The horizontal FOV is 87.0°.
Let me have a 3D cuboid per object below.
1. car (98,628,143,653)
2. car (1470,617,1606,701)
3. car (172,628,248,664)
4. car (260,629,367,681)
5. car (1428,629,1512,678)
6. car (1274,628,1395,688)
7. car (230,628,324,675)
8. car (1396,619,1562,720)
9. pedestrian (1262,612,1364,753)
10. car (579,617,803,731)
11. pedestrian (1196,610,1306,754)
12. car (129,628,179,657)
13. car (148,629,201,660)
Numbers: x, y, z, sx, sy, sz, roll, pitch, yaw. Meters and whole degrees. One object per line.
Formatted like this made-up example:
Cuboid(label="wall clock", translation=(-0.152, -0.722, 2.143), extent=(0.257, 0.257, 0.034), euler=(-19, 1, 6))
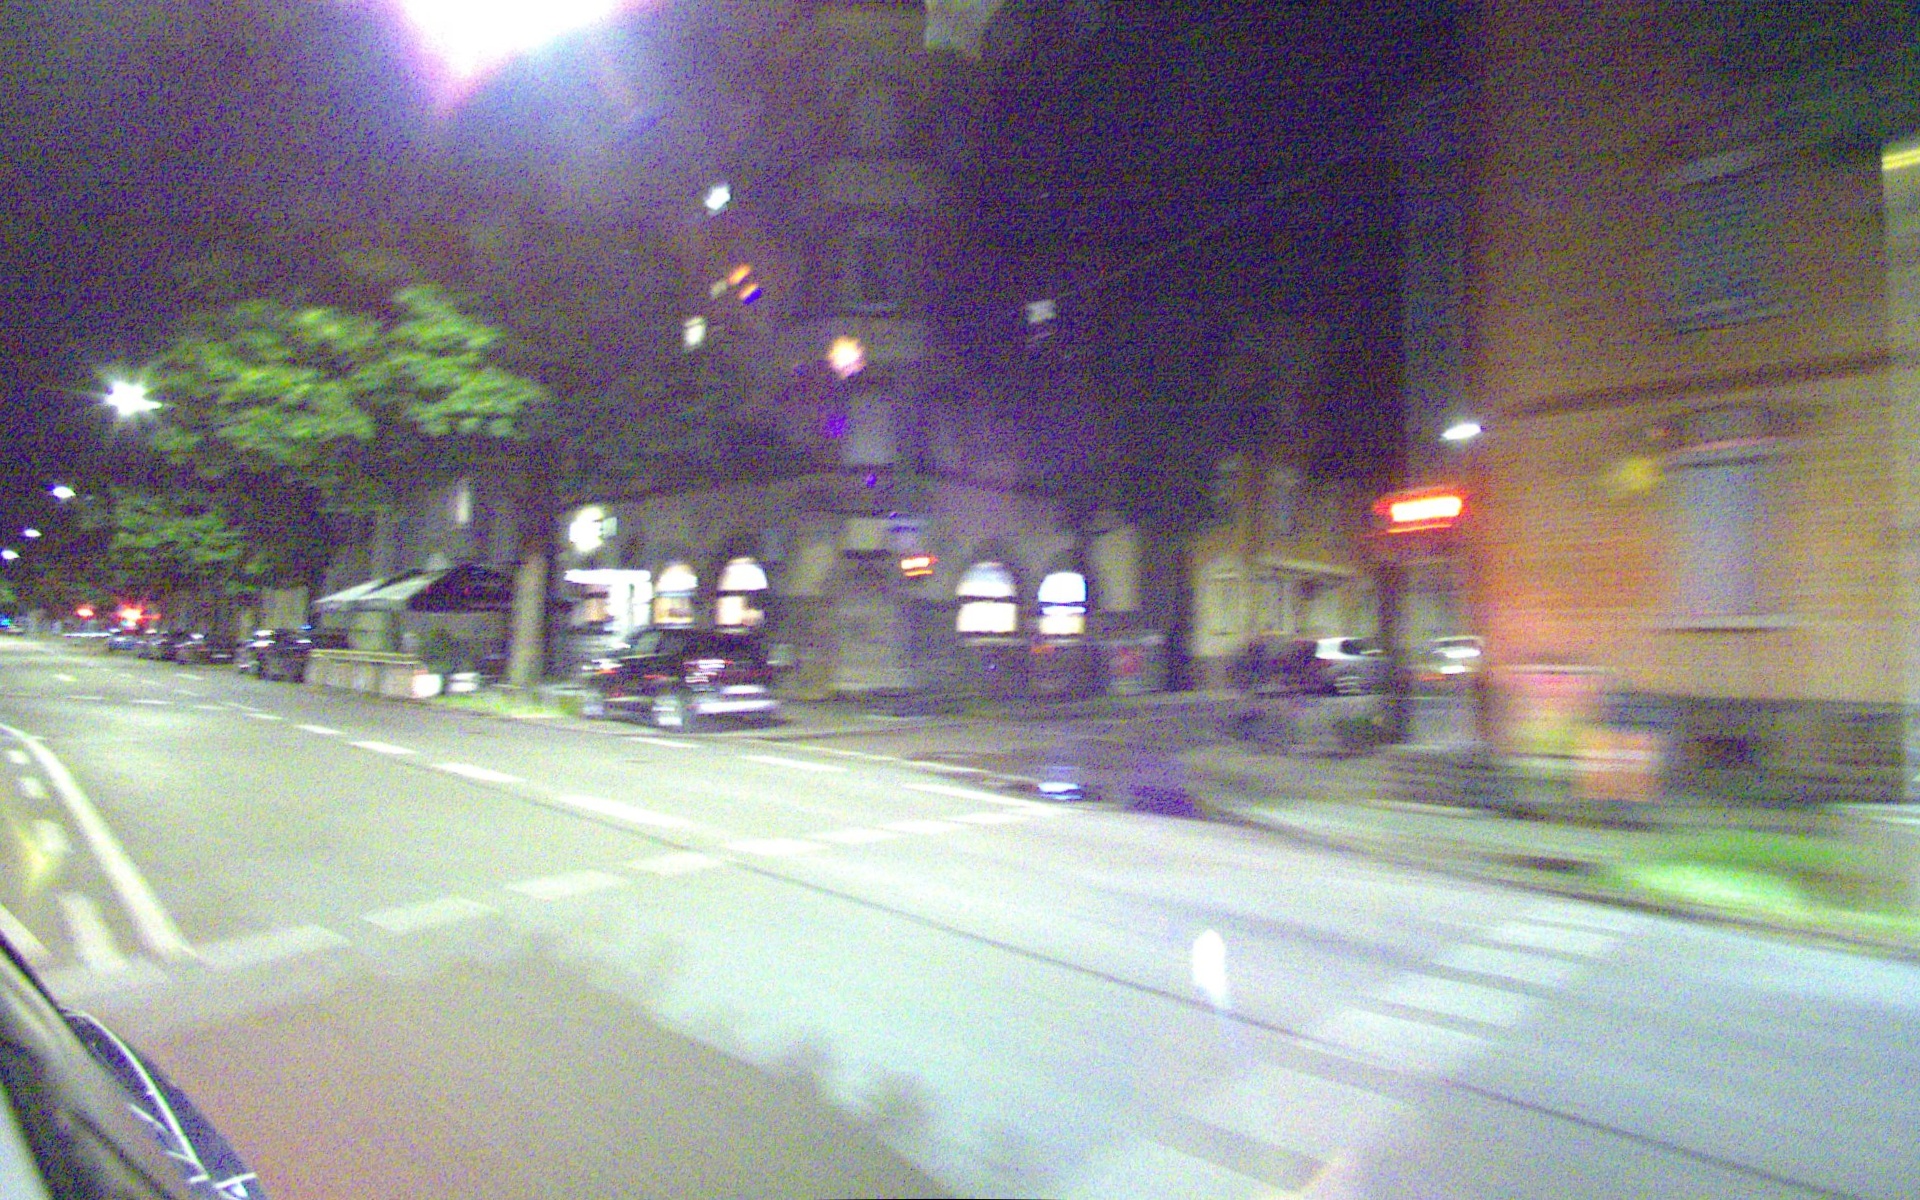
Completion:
Cuboid(label="car", translation=(-53.713, 2.572, 64.727), extent=(3.513, 1.475, 1.611), euler=(-1, -4, 41))
Cuboid(label="car", translation=(13.640, 1.342, 23.786), extent=(1.901, 1.789, 3.942), euler=(-1, -3, 43))
Cuboid(label="car", translation=(-32.517, 1.953, 43.847), extent=(4.403, 1.444, 1.840), euler=(-1, -2, 43))
Cuboid(label="car", translation=(-19.741, 1.609, 30.818), extent=(1.839, 1.444, 4.446), euler=(1, -2, -45))
Cuboid(label="car", translation=(20.099, 2.085, 39.810), extent=(1.901, 1.789, 3.942), euler=(-1, -3, 43))
Cuboid(label="car", translation=(10.873, 1.647, 29.289), extent=(1.901, 1.611, 3.942), euler=(-1, -3, 43))
Cuboid(label="car", translation=(-23.309, 1.692, 34.470), extent=(1.839, 1.490, 4.475), euler=(2, -2, -45))
Cuboid(label="car", translation=(10.342, 1.312, 20.059), extent=(1.901, 1.789, 3.942), euler=(-1, -3, 43))
Cuboid(label="pedestrian", translation=(4.473, 1.019, 12.863), extent=(0.700, 1.703, 1.000), euler=(3, -3, -35))
Cuboid(label="car", translation=(-4.490, 1.099, 16.524), extent=(1.863, 1.608, 4.027), euler=(1, -1, -43))
Cuboid(label="pedestrian", translation=(3.622, 0.995, 12.652), extent=(0.700, 1.703, 1.127), euler=(3, -3, -35))
Cuboid(label="car", translation=(-42.779, 2.227, 53.707), extent=(1.619, 1.444, 4.352), euler=(0, -1, -45))
Cuboid(label="car", translation=(-38.565, 2.144, 49.639), extent=(1.533, 1.444, 4.350), euler=(0, -1, -45))
